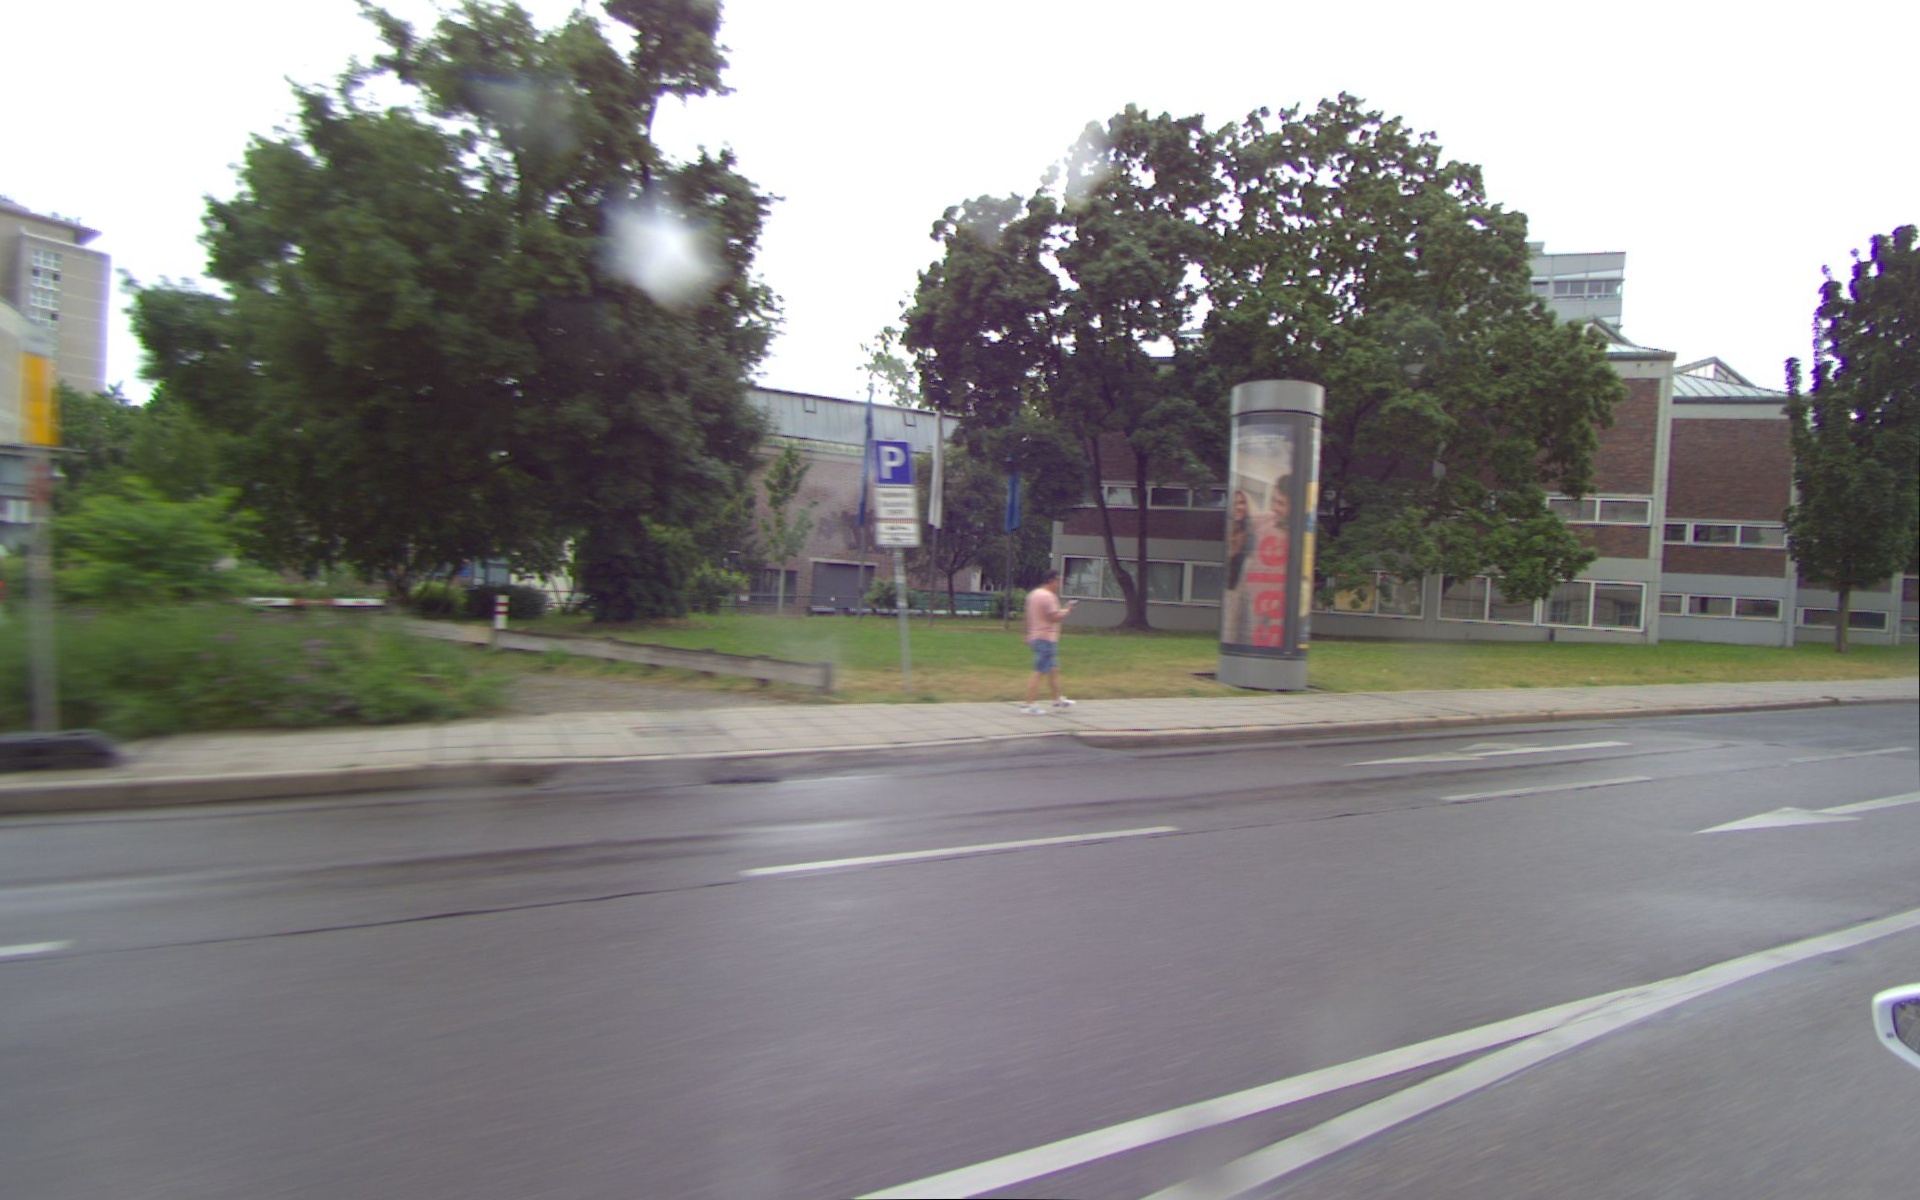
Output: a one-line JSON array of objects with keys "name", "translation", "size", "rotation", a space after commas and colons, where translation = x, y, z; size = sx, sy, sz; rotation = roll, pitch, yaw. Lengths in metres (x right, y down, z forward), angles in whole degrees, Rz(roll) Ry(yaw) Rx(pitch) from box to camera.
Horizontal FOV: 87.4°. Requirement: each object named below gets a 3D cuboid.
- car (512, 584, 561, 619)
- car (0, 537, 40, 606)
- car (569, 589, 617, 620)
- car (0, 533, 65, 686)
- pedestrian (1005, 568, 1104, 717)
[{"name": "car", "translation": [-21.729, 0.064, 51.454], "size": [1.778, 1.539, 3.966], "rotation": [2, 2, -31]}, {"name": "car", "translation": [-40.876, -1.251, 41.218], "size": [2.702, 2.798, 6.175], "rotation": [3, 1, -24]}, {"name": "car", "translation": [-19.267, 0.216, 52.609], "size": [1.636, 1.368, 3.818], "rotation": [2, 2, -31]}, {"name": "car", "translation": [-11.946, 0.047, 9.743], "size": [1.835, 1.631, 4.519], "rotation": [4, 2, 28]}, {"name": "pedestrian", "translation": [1.125, 0.504, 12.034], "size": [0.900, 1.709, 0.669], "rotation": [3, 2, -21]}]
